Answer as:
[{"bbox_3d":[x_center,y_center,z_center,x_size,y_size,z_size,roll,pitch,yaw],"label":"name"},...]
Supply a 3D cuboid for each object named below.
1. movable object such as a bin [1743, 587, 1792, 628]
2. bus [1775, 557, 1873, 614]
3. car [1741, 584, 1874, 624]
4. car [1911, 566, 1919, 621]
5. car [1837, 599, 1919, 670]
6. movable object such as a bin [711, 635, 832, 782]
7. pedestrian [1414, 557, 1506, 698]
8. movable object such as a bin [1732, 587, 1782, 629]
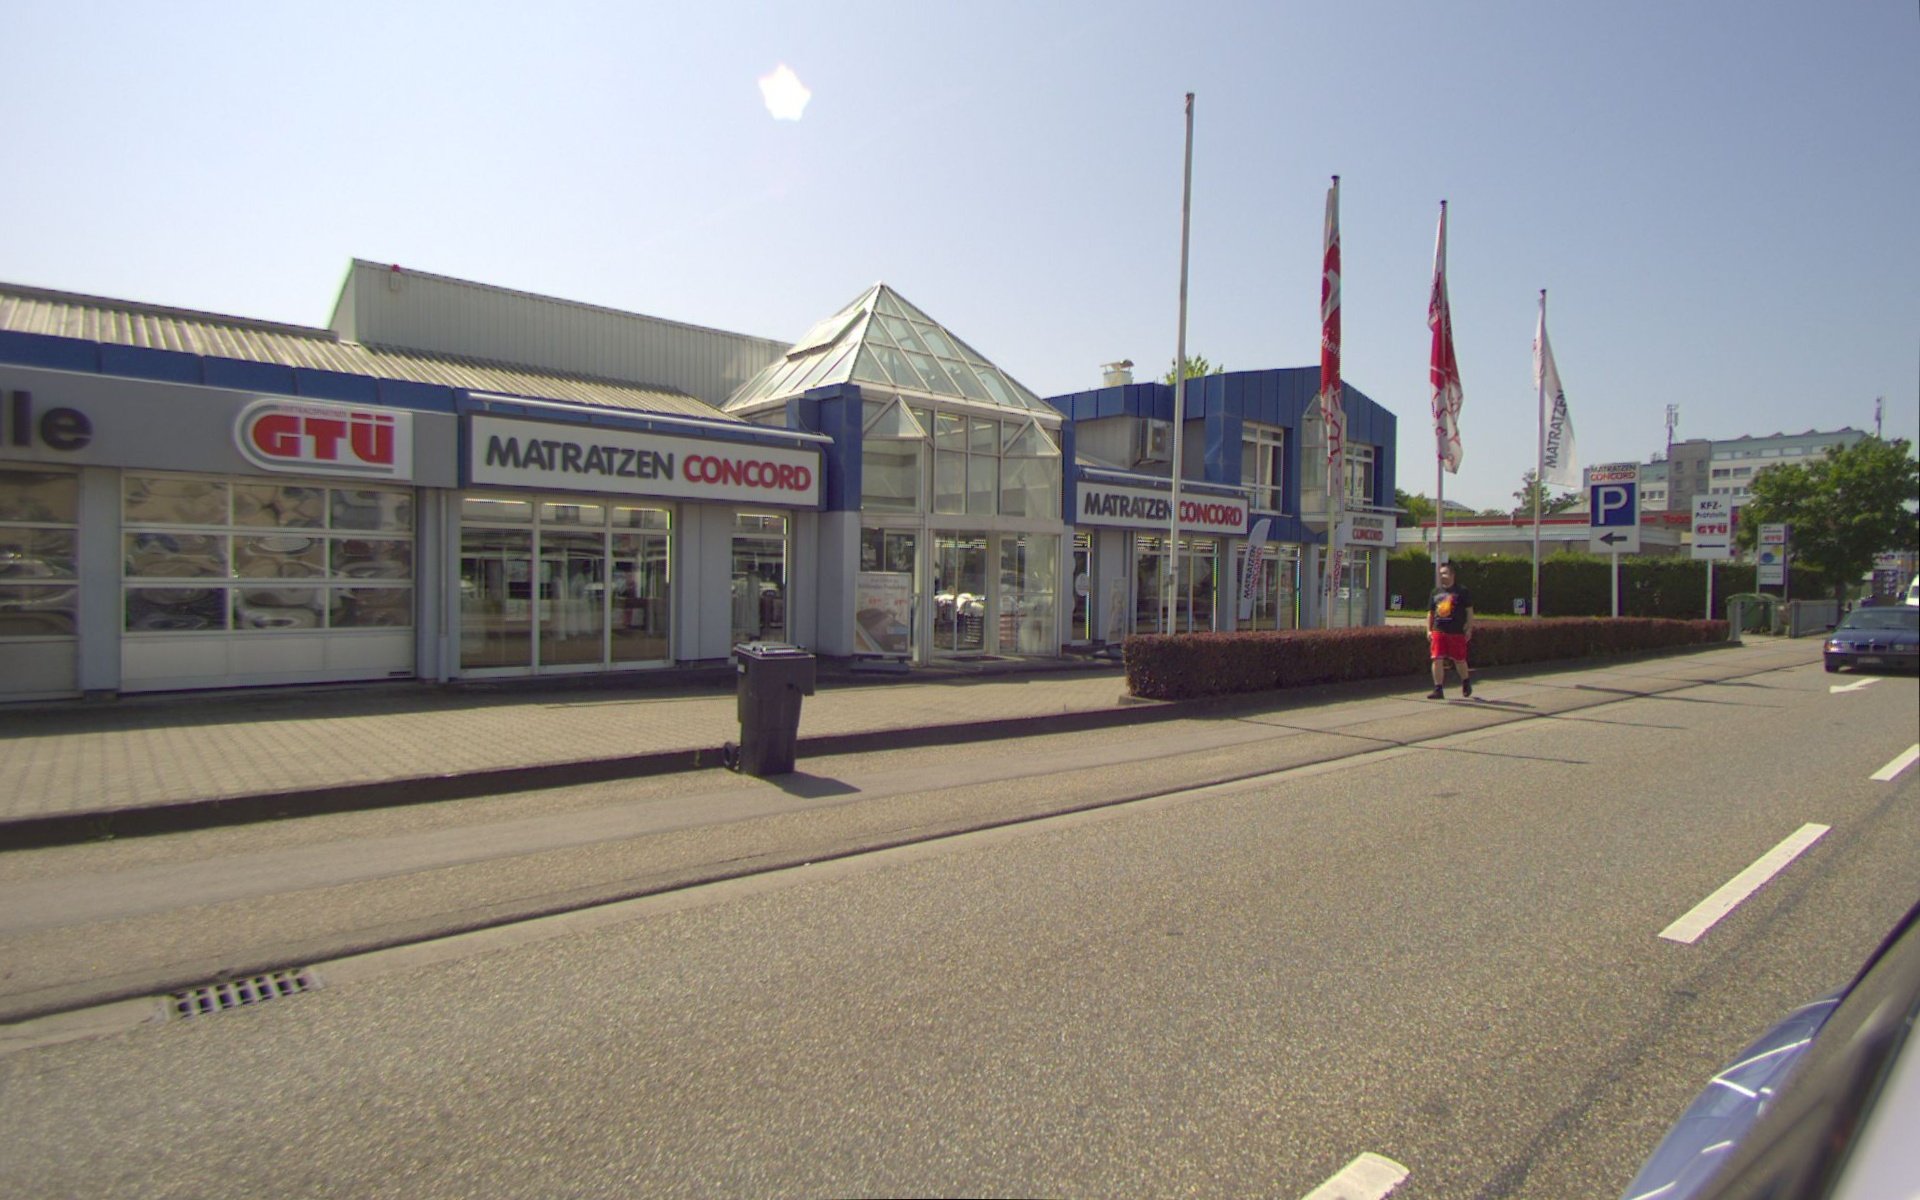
[{"bbox_3d":[30.485,0.263,38.206,1.463,1.488,1.133,0,2,-40],"label":"movable object such as a bin"},{"bbox_3d":[52.096,-0.846,60.909,8.913,3.191,2.757,0,2,-39],"label":"bus"},{"bbox_3d":[41.201,0.162,49.299,1.872,1.545,4.637,0,4,-38],"label":"car"},{"bbox_3d":[52.660,-0.281,53.874,7.152,2.807,2.182,0,4,-42],"label":"car"},{"bbox_3d":[19.757,0.671,21.184,3.691,1.356,1.631,0,0,-41],"label":"car"},{"bbox_3d":[-1.366,0.758,7.319,0.641,0.930,0.552,0,4,-40],"label":"movable object such as a bin"},{"bbox_3d":[6.915,0.346,14.000,0.919,1.869,0.787,0,1,-38],"label":"pedestrian"},{"bbox_3d":[29.281,0.269,37.188,1.463,1.488,1.133,0,2,-40],"label":"movable object such as a bin"}]
